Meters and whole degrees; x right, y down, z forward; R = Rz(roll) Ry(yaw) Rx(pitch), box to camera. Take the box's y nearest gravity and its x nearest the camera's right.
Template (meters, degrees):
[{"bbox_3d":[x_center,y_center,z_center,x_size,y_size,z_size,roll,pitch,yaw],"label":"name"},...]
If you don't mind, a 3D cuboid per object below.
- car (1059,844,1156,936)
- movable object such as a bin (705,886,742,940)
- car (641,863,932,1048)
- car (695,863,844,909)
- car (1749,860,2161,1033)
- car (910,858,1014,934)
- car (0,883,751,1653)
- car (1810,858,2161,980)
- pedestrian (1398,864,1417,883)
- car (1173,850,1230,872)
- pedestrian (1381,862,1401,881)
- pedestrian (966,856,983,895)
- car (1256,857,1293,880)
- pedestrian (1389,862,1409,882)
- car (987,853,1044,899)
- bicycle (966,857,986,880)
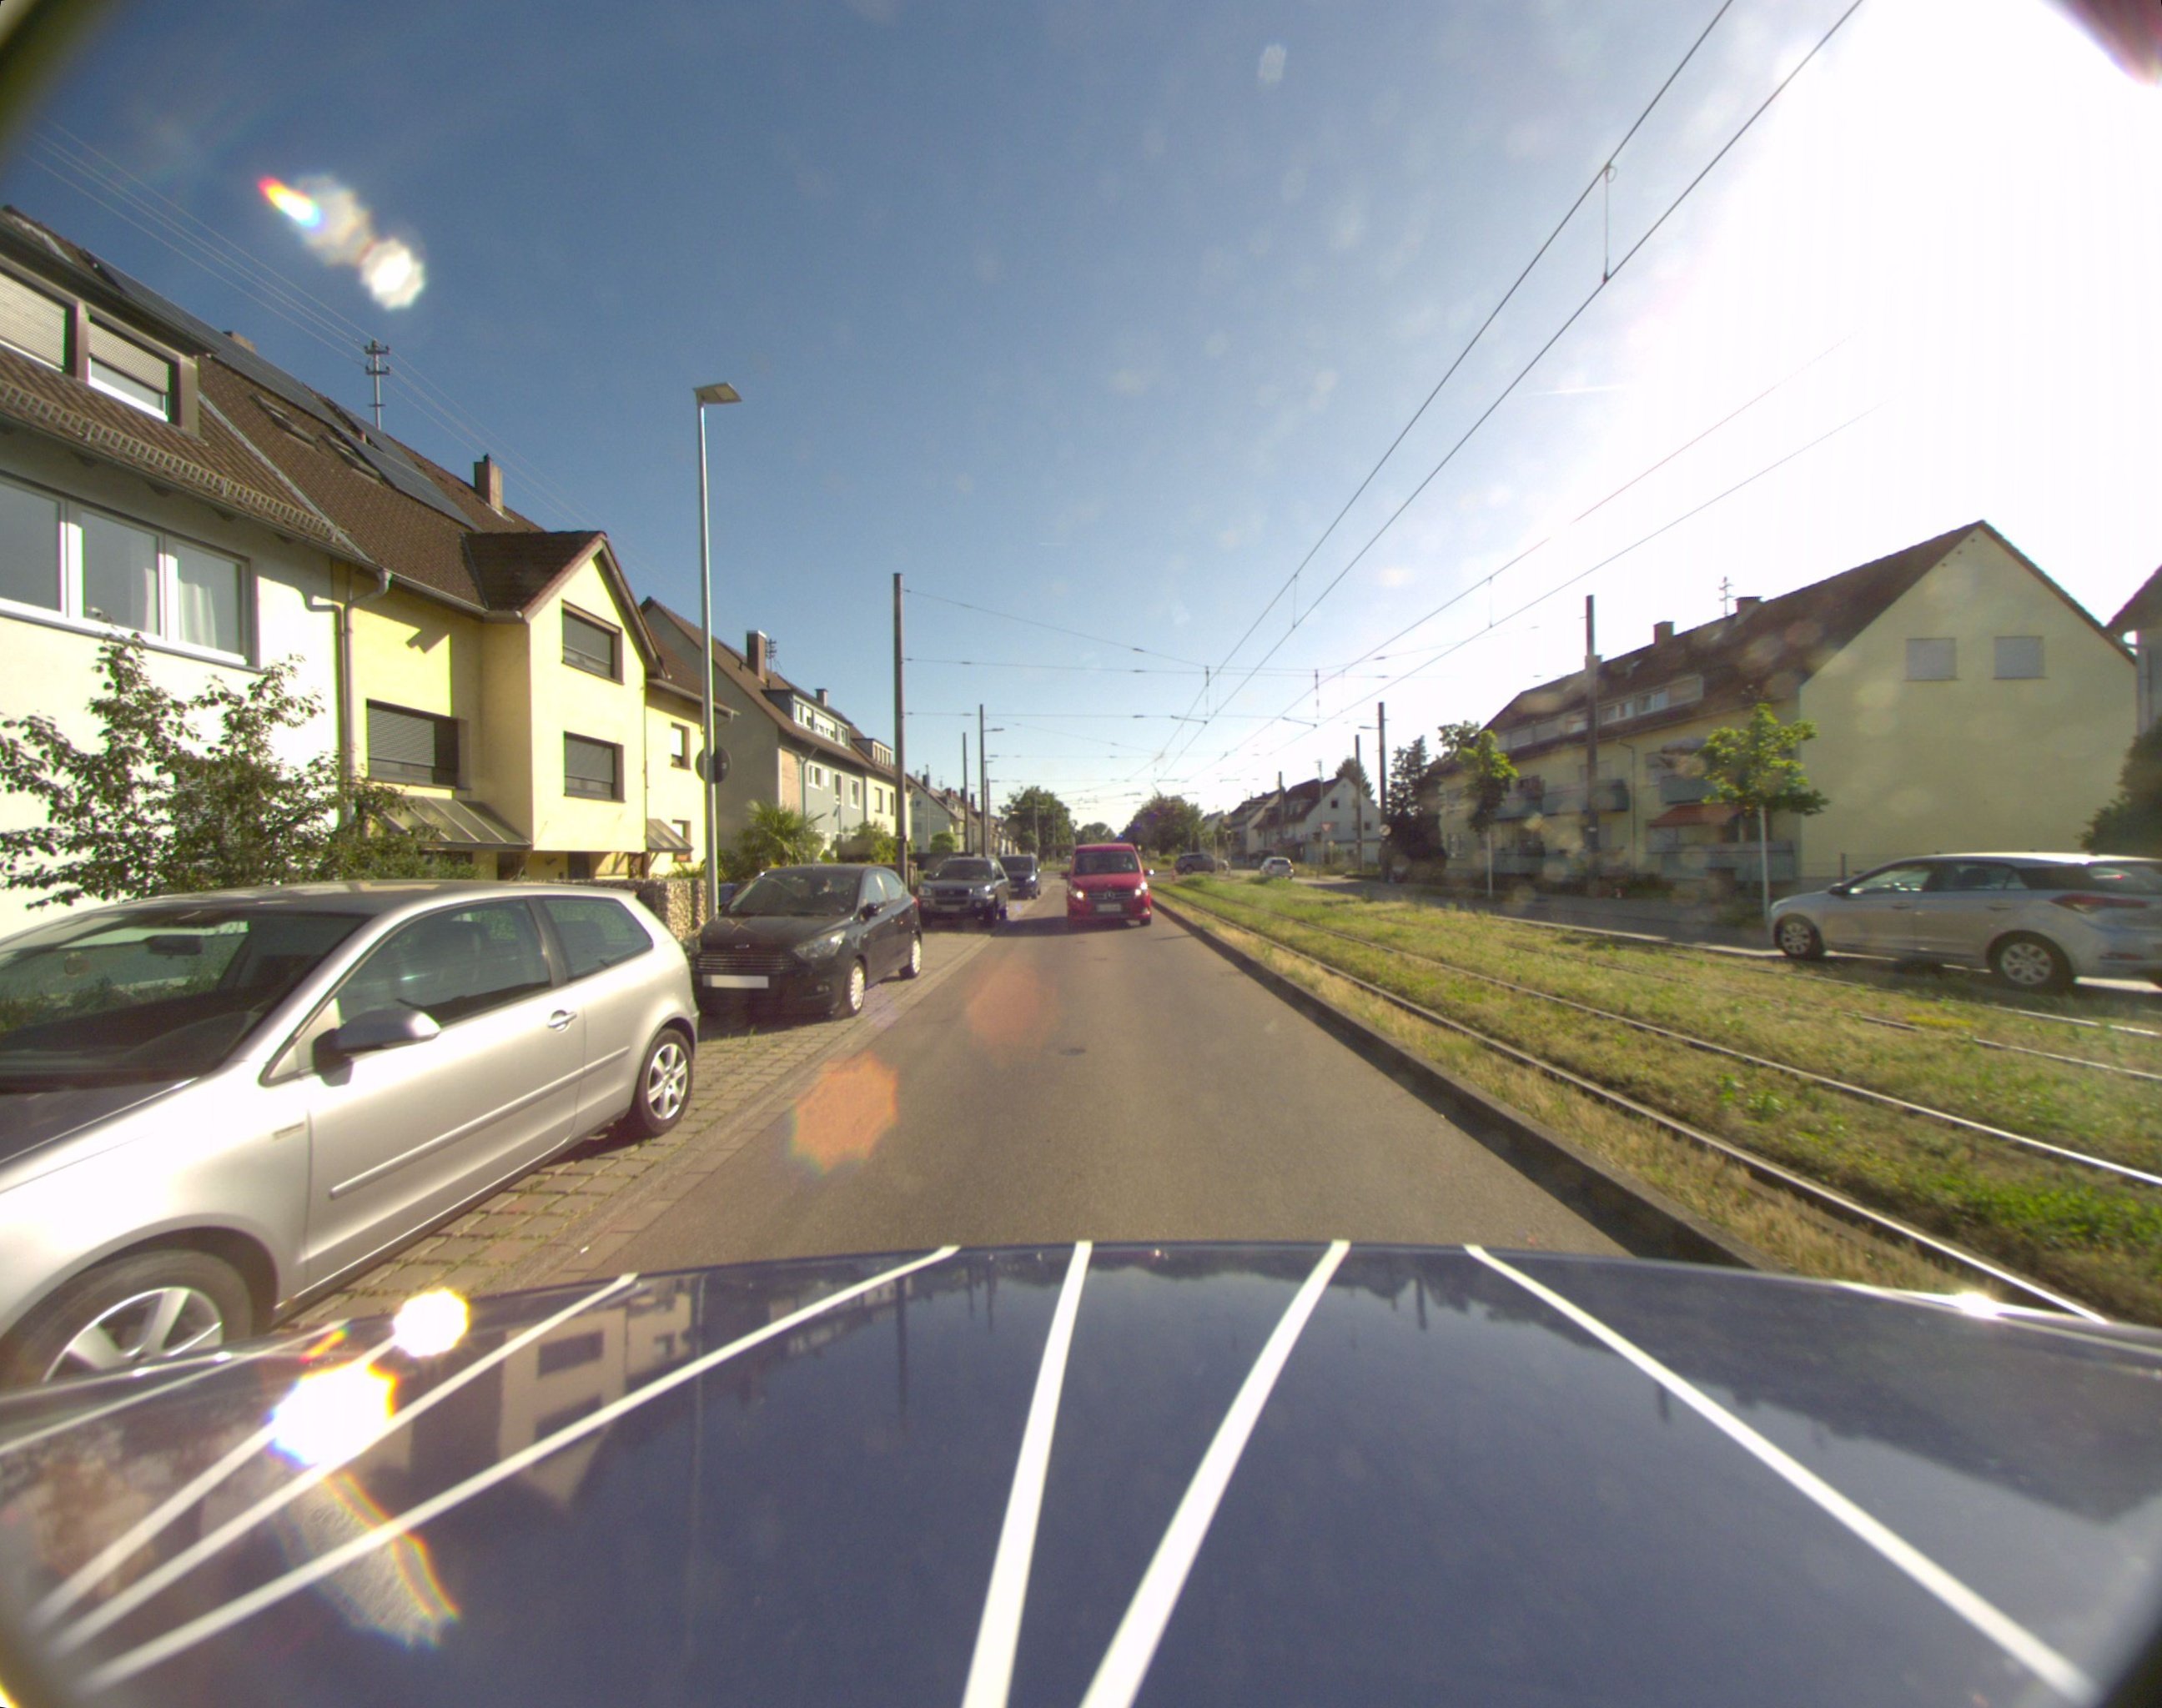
[{"bbox_3d":[0.506,0.780,19.127,1.999,1.970,5.236,-1,0,-2],"label":"car"},{"bbox_3d":[-7.466,1.228,15.868,0.559,1.056,0.205,-5,2,-5],"label":"movable object such as a bin"},{"bbox_3d":[-2.980,0.917,8.622,1.670,1.538,3.836,1,0,2],"label":"car"},{"bbox_3d":[-10.258,1.038,25.244,4.175,1.459,1.900,-1,-1,0],"label":"car"},{"bbox_3d":[10.555,0.881,9.071,1.712,1.482,4.024,-1,1,2],"label":"car"},{"bbox_3d":[-2.871,0.950,19.268,1.859,1.649,4.473,-1,0,1],"label":"car"},{"bbox_3d":[-3.122,0.963,3.092,1.620,1.466,4.449,-1,0,0],"label":"car"},{"bbox_3d":[14.119,0.845,11.783,1.696,1.509,4.215,-1,0,2],"label":"car"},{"bbox_3d":[17.333,1.034,40.373,0.725,1.000,0.594,-2,2,-23],"label":"pedestrian"},{"bbox_3d":[9.296,0.547,58.686,4.001,1.570,1.829,-1,0,-11],"label":"car"},{"bbox_3d":[17.119,0.957,41.939,0.819,1.040,0.687,-1,1,-2],"label":"pedestrian"},{"bbox_3d":[-4.696,0.944,33.592,0.584,1.713,0.714,-1,1,2],"label":"pedestrian"},{"bbox_3d":[12.615,0.944,49.734,1.553,1.403,3.659,-1,0,2],"label":"car"},{"bbox_3d":[17.198,0.964,41.083,0.821,1.059,0.625,-2,3,-32],"label":"pedestrian"},{"bbox_3d":[-2.754,0.886,32.973,1.966,1.825,4.927,-1,0,1],"label":"car"},{"bbox_3d":[-4.701,0.625,34.010,0.602,0.974,1.562,1,1,3],"label":"bicycle"}]
